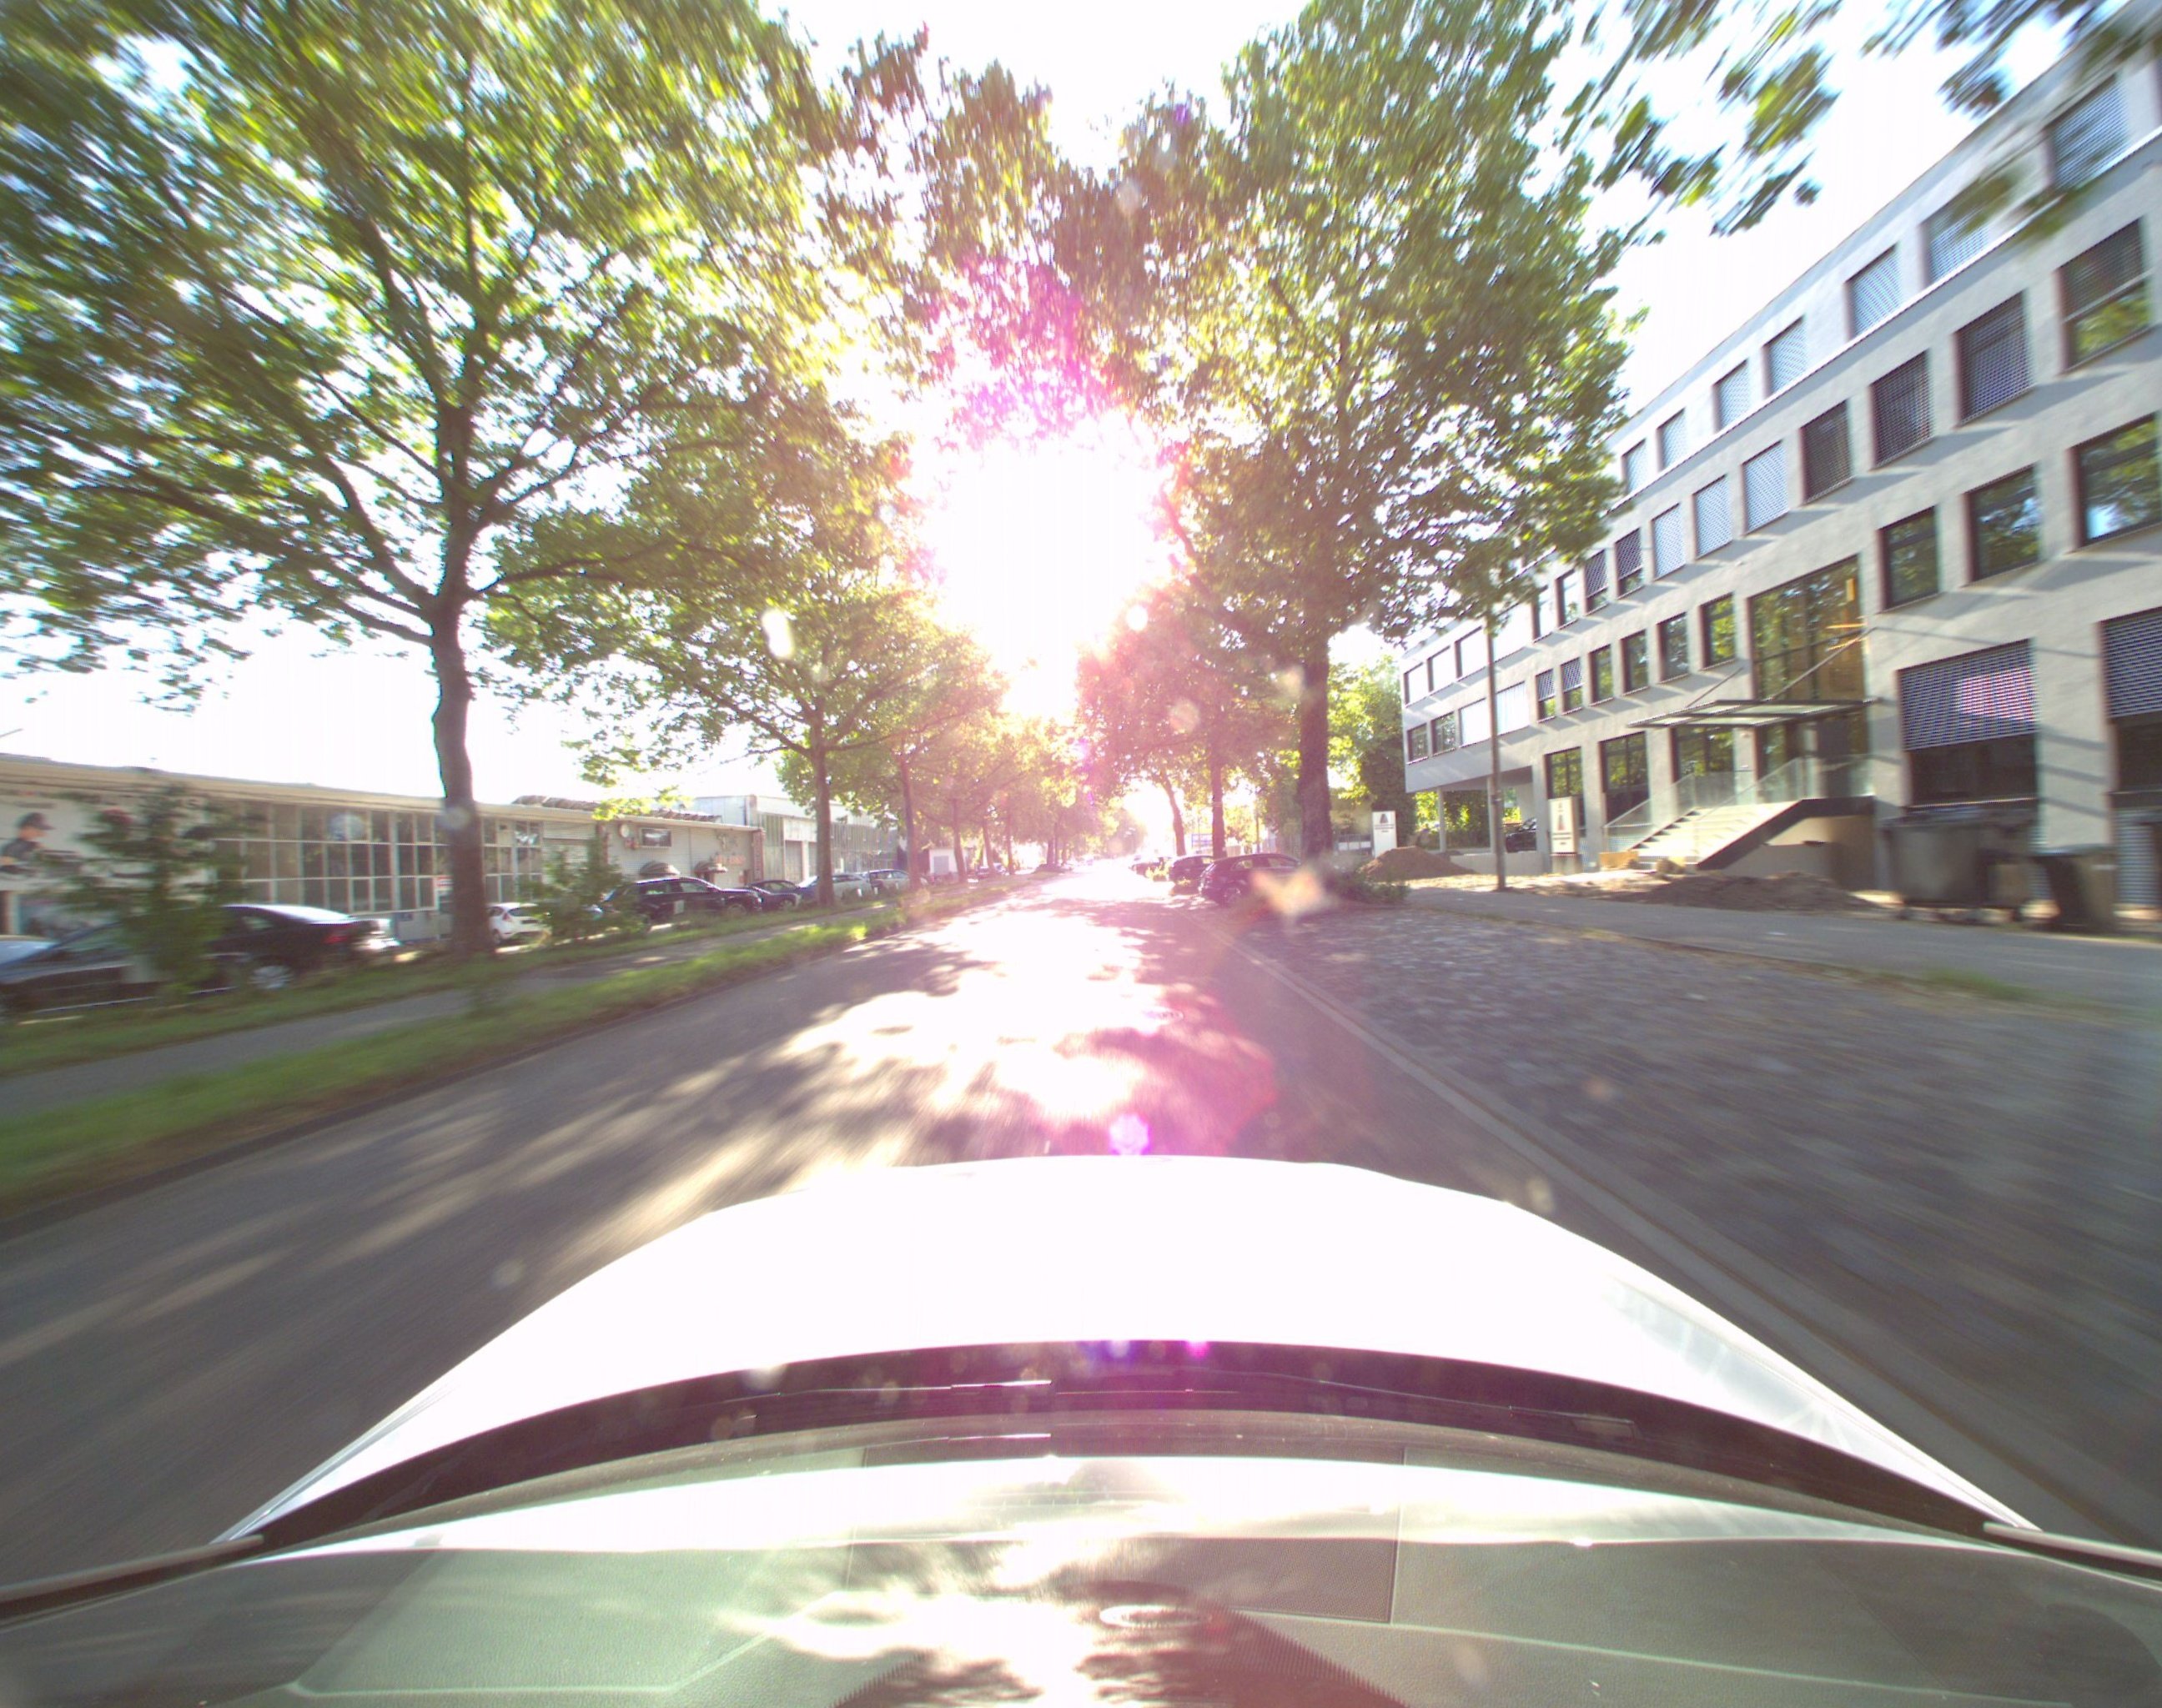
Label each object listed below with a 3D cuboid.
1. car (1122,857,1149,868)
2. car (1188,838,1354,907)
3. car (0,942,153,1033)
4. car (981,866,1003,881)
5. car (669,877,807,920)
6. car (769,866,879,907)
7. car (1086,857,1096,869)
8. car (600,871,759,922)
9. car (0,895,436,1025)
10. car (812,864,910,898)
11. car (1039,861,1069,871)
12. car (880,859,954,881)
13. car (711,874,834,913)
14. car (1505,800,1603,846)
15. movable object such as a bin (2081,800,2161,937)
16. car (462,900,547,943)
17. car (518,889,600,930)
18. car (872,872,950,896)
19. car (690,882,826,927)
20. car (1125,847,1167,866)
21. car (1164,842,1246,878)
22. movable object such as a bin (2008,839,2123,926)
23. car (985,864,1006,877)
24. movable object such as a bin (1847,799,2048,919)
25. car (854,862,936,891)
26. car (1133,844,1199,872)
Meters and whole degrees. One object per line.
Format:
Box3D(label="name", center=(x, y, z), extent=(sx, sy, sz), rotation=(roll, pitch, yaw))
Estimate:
Box3D(label="car", center=(9.522, 1.489, 142.571), extent=(4.582, 1.580, 2.002), rotation=(-5, -2, 3))
Box3D(label="car", center=(5.396, 0.522, 23.520), extent=(4.271, 1.486, 1.860), rotation=(-6, -1, -1))
Box3D(label="car", center=(-20.910, 2.493, 15.714), extent=(4.430, 1.321, 2.006), rotation=(0, -1, 12))
Box3D(label="car", center=(-9.440, 2.045, 86.473), extent=(1.989, 1.370, 3.916), rotation=(-6, -1, -3))
Box3D(label="car", center=(-12.402, 1.572, 29.546), extent=(4.282, 1.382, 1.978), rotation=(0, -1, -37))
Box3D(label="car", center=(-11.542, 1.414, 36.722), extent=(1.975, 1.699, 4.287), rotation=(-2, -2, 45))
Box3D(label="car", center=(2.307, 2.205, 192.756), extent=(2.120, 2.659, 7.003), rotation=(-2, 0, 1))
Box3D(label="car", center=(-12.791, 1.290, 26.024), extent=(4.282, 1.452, 1.978), rotation=(0, -2, -37))
Box3D(label="car", center=(-12.570, 1.437, 12.029), extent=(4.354, 1.530, 1.985), rotation=(0, -1, -22))
Box3D(label="car", center=(-10.861, 1.304, 40.392), extent=(1.975, 1.629, 4.288), rotation=(-2, -2, 44))
Box3D(label="car", center=(-4.271, 1.906, 129.266), extent=(4.584, 1.422, 2.000), rotation=(-2, 0, 0))
Box3D(label="car", center=(-11.151, 1.109, 55.517), extent=(4.508, 1.306, 1.976), rotation=(-2, 0, -40))
Box3D(label="car", center=(-12.430, 1.552, 32.906), extent=(4.282, 1.452, 1.978), rotation=(0, -2, -37))
Box3D(label="car", center=(20.386, -1.274, 35.360), extent=(1.983, 1.732, 4.676), rotation=(-1, -1, 7))
Box3D(label="movable object such as a bin", center=(10.364, 0.128, 7.325), extent=(0.745, 1.263, 1.612), rotation=(-1, -1, 2))
Box3D(label="car", center=(-20.993, 2.430, 29.656), extent=(3.255, 1.385, 1.563), rotation=(-1, -2, 36))
Box3D(label="car", center=(-20.211, 2.103, 31.504), extent=(3.255, 1.407, 1.719), rotation=(-2, -2, 39))
Box3D(label="car", center=(-10.930, 1.897, 52.573), extent=(4.508, 1.306, 1.976), rotation=(-2, 0, -40))
Box3D(label="car", center=(-11.810, 1.803, 29.901), extent=(4.282, 1.452, 1.978), rotation=(0, -2, -37))
Box3D(label="car", center=(7.614, 0.302, 95.431), extent=(4.611, 1.712, 1.999), rotation=(-5, -1, -1))
Box3D(label="car", center=(6.270, 0.321, 41.433), extent=(3.773, 1.486, 1.860), rotation=(-5, -1, -1))
Box3D(label="movable object such as a bin", center=(10.564, 0.297, 8.756), extent=(0.490, 0.900, 0.599), rotation=(-1, -1, 0))
Box3D(label="car", center=(-10.688, 2.058, 101.976), extent=(1.985, 1.576, 4.276), rotation=(-1, -1, 3))
Box3D(label="movable object such as a bin", center=(10.569, 0.067, 10.028), extent=(0.745, 1.350, 1.621), rotation=(-1, -1, 2))
Box3D(label="car", center=(-11.353, 1.350, 49.786), extent=(4.504, 1.731, 1.978), rotation=(0, -2, -36))
Box3D(label="car", center=(6.326, 0.314, 60.856), extent=(4.558, 1.715, 1.941), rotation=(-5, -1, -3))
